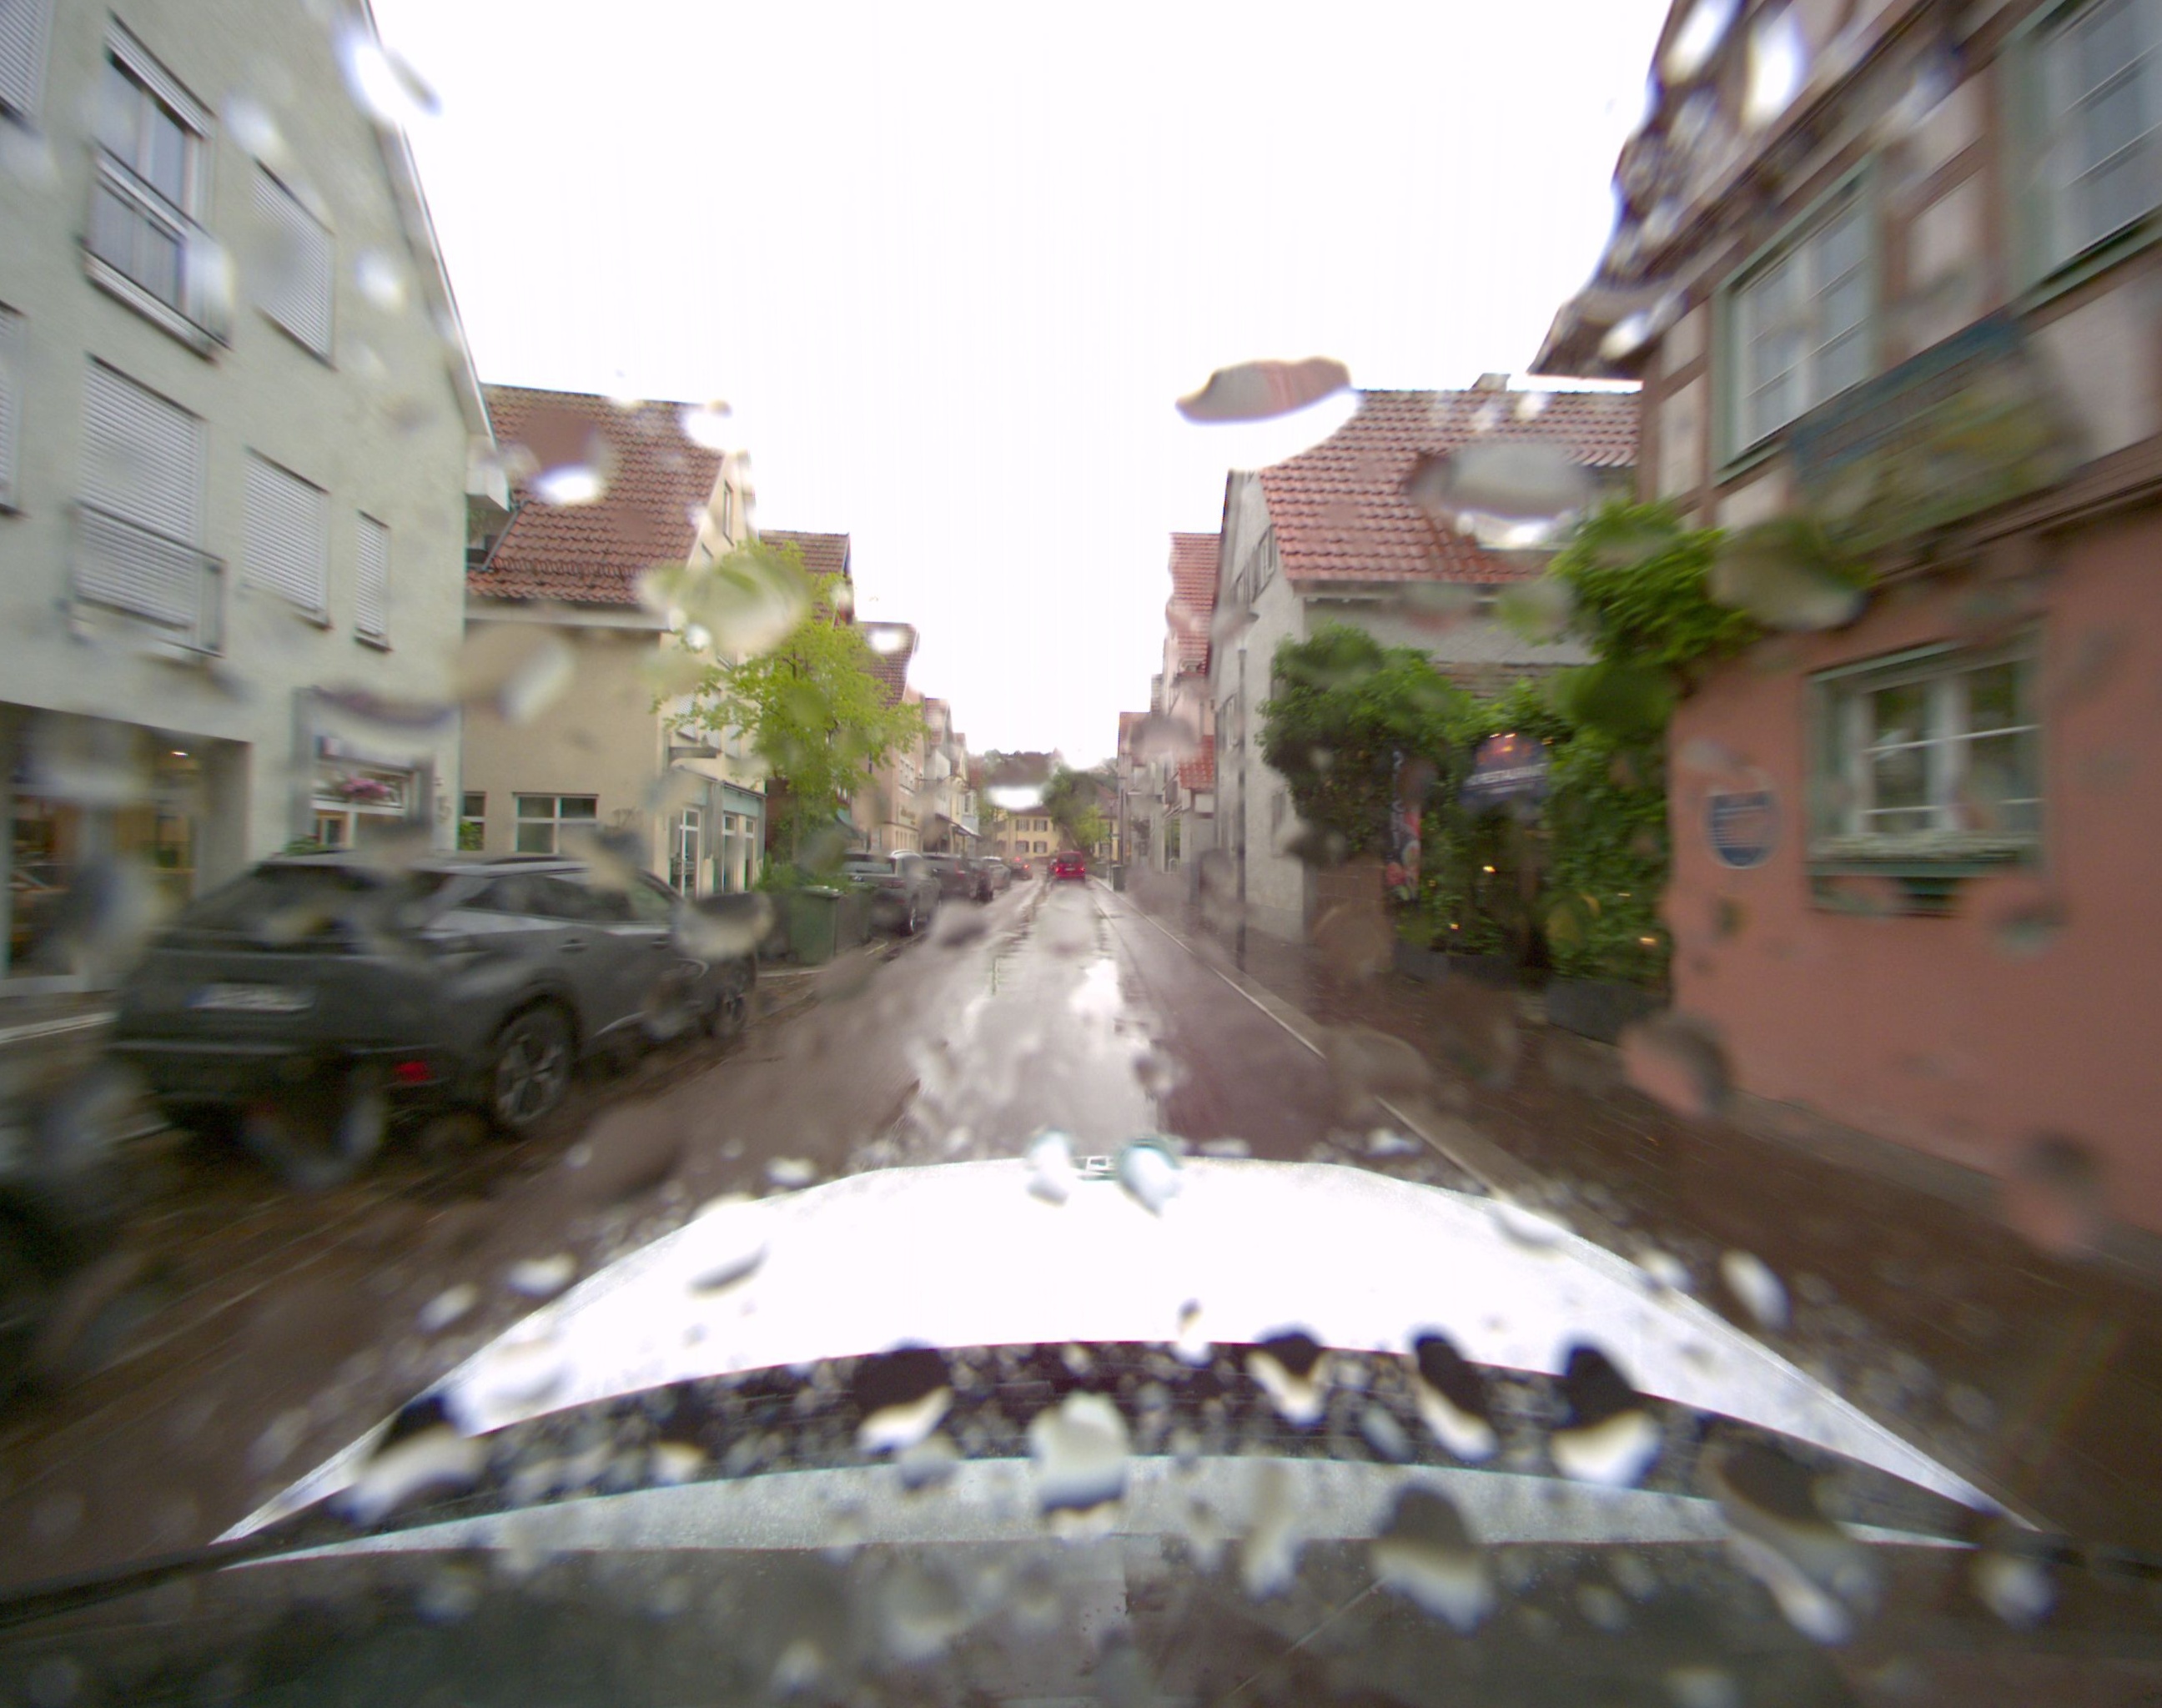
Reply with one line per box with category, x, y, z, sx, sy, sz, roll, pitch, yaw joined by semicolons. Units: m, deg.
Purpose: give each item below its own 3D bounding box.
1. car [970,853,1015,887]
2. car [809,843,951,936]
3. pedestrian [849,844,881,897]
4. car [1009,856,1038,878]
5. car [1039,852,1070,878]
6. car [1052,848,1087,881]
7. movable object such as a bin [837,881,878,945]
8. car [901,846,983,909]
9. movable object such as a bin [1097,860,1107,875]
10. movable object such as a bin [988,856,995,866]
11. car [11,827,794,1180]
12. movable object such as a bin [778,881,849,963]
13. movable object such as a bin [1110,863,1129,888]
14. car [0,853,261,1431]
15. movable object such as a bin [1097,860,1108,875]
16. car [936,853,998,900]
car;-4.418;0.787;41.040;1.686;1.538;4.122;2;1;1
car;-4.061;0.722;17.256;1.818;1.666;4.640;1;-2;0
pedestrian;-7.105;0.558;26.823;0.787;1.682;1.174;1;-2;-6
car;-4.035;0.879;57.555;1.686;1.443;3.884;1;1;0
car;-1.977;0.819;59.541;1.991;1.799;3.991;1;-2;-6
car;-0.620;0.597;48.166;1.887;1.811;4.001;2;1;1
movable object such as a bin;-3.768;0.986;13.785;0.550;1.046;0.534;1;-2;-5
car;-4.045;0.702;24.363;1.820;1.666;4.637;1;-2;-3
movable object such as a bin;1.519;0.973;58.908;0.752;1.064;0.600;1;-2;0
movable object such as a bin;-10.271;0.816;93.055;0.714;1.106;0.597;1;-2;-11
car;-3.834;0.675;5.848;1.855;1.524;4.329;2;0;1
movable object such as a bin;-3.734;0.934;11.412;0.745;1.083;0.743;1;-2;-4
movable object such as a bin;1.711;0.969;36.538;0.791;1.081;0.614;0;-1;-4
car;-3.495;0.729;0.343;1.859;1.442;4.611;1;0;-5
movable object such as a bin;1.549;0.950;58.272;0.765;1.080;0.599;1;-2;0
car;-4.165;0.776;30.240;1.775;1.538;4.287;2;1;-2
